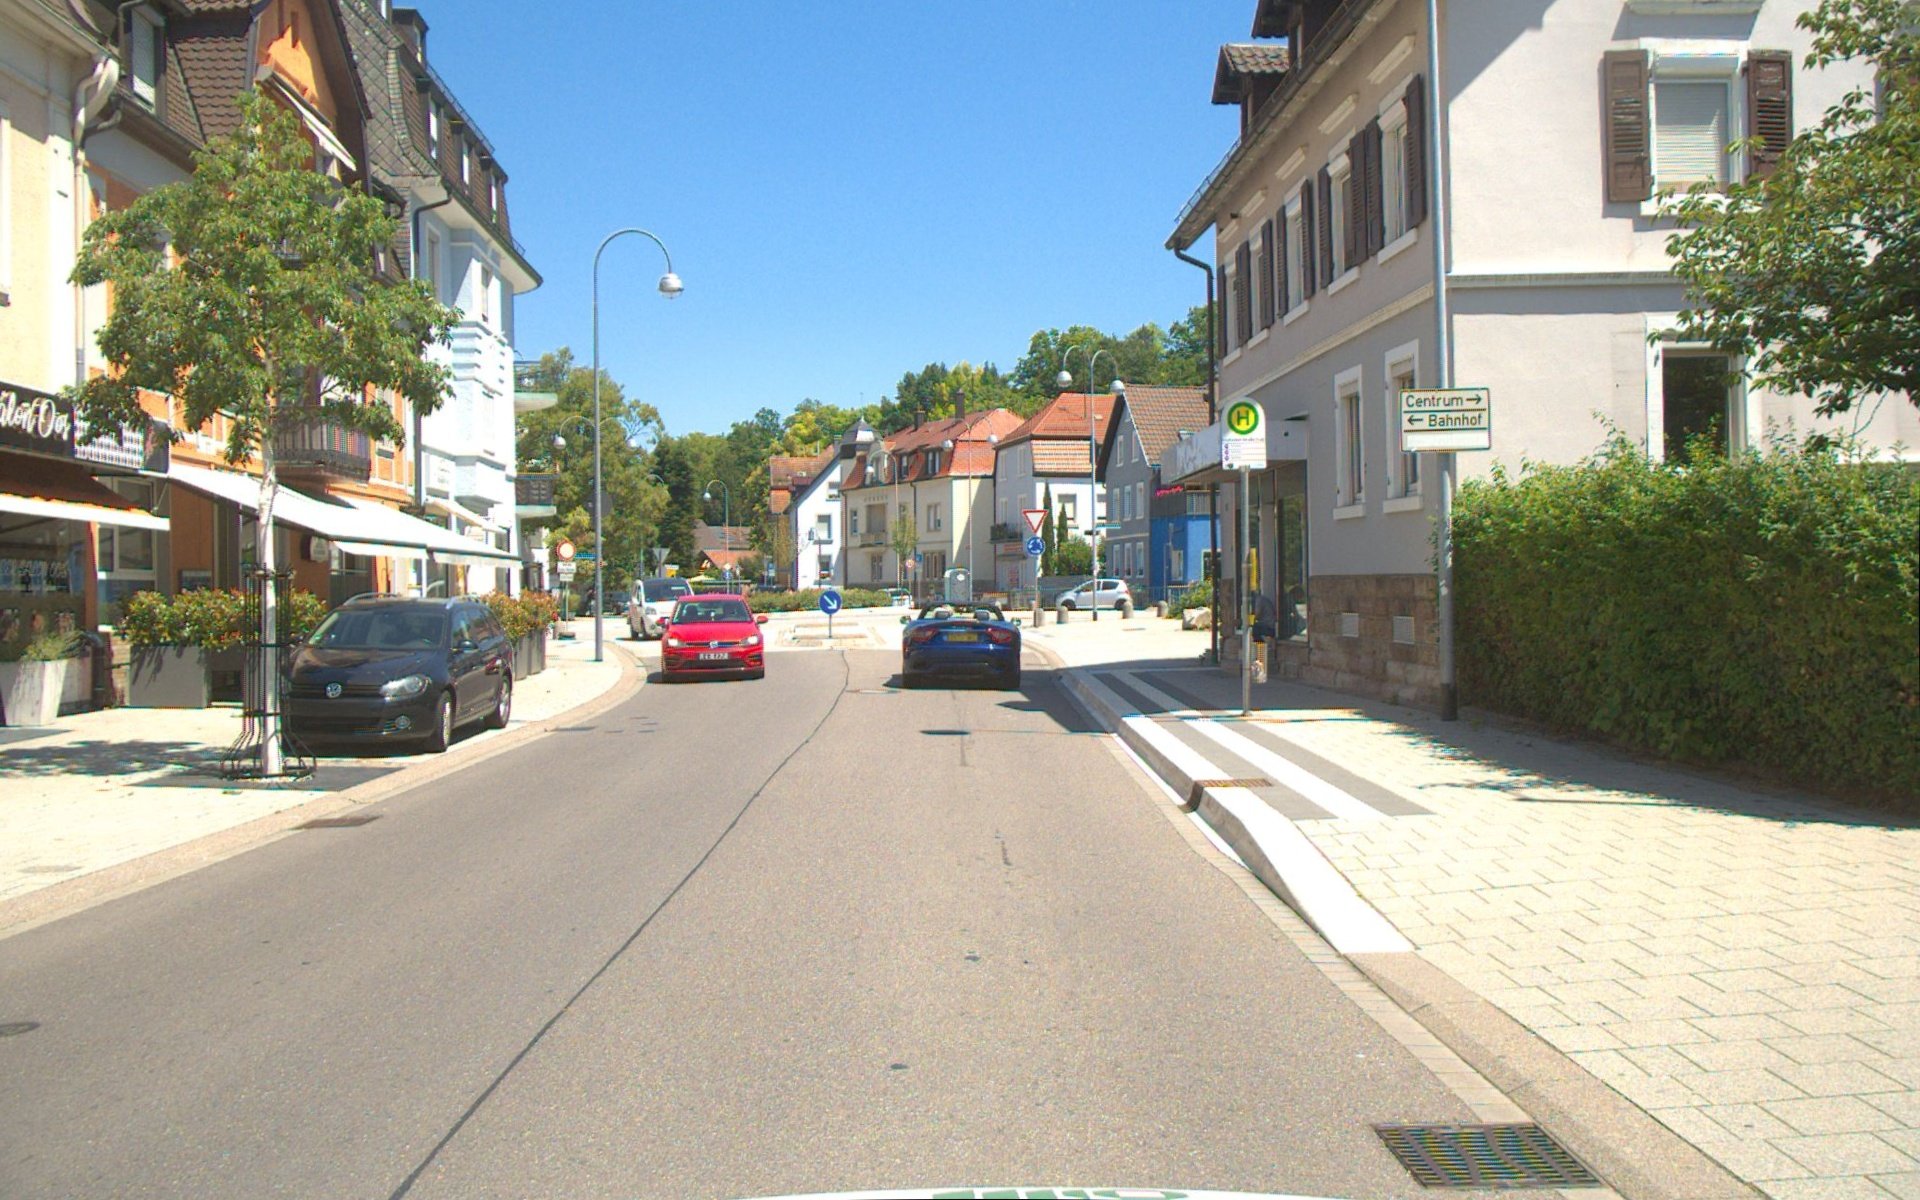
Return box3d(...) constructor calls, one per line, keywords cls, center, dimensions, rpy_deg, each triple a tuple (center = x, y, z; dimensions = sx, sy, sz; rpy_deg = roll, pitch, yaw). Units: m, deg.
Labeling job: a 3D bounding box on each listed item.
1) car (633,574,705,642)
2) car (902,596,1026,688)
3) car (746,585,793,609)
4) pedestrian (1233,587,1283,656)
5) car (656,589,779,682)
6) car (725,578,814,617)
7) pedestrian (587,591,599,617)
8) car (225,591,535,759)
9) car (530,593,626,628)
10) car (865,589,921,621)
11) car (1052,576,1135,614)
box3d(cls="car", center=(-8.696, 0.217, 49.286), dimensions=(1.958, 1.854, 4.404), rpy_deg=(-2, 0, -11))
box3d(cls="car", center=(0.044, 0.627, 27.053), dimensions=(1.871, 1.384, 4.285), rpy_deg=(0, 0, 0))
box3d(cls="car", center=(-13.769, -0.221, 119.336), dimensions=(1.832, 1.616, 3.956), rpy_deg=(-2, 1, -32))
box3d(cls="pedestrian", center=(4.541, 0.315, 25.247), dimensions=(0.578, 1.017, 0.723), rpy_deg=(-2, 0, -3))
box3d(cls="car", center=(-4.262, 0.587, 29.565), dimensions=(1.878, 1.451, 3.976), rpy_deg=(-3, 0, -5))
box3d(cls="car", center=(-7.329, -0.075, 63.182), dimensions=(1.971, 1.353, 4.161), rpy_deg=(-2, 0, -28))
box3d(cls="pedestrian", center=(-22.811, 0.230, 102.796), dimensions=(0.523, 1.603, 0.563), rpy_deg=(-1, 0, 9))
box3d(cls="car", center=(-5.950, 0.686, 17.570), dimensions=(1.877, 1.507, 4.335), rpy_deg=(2, 0, -2))
box3d(cls="car", center=(-15.795, 0.436, 68.307), dimensions=(3.688, 1.355, 1.804), rpy_deg=(-1, 0, -19))
box3d(cls="car", center=(-3.784, 0.296, 92.440), dimensions=(1.891, 1.641, 4.121), rpy_deg=(-1, -1, -21))
box3d(cls="car", center=(5.769, -0.219, 71.211), dimensions=(3.385, 1.476, 1.582), rpy_deg=(-2, 0, 10))
